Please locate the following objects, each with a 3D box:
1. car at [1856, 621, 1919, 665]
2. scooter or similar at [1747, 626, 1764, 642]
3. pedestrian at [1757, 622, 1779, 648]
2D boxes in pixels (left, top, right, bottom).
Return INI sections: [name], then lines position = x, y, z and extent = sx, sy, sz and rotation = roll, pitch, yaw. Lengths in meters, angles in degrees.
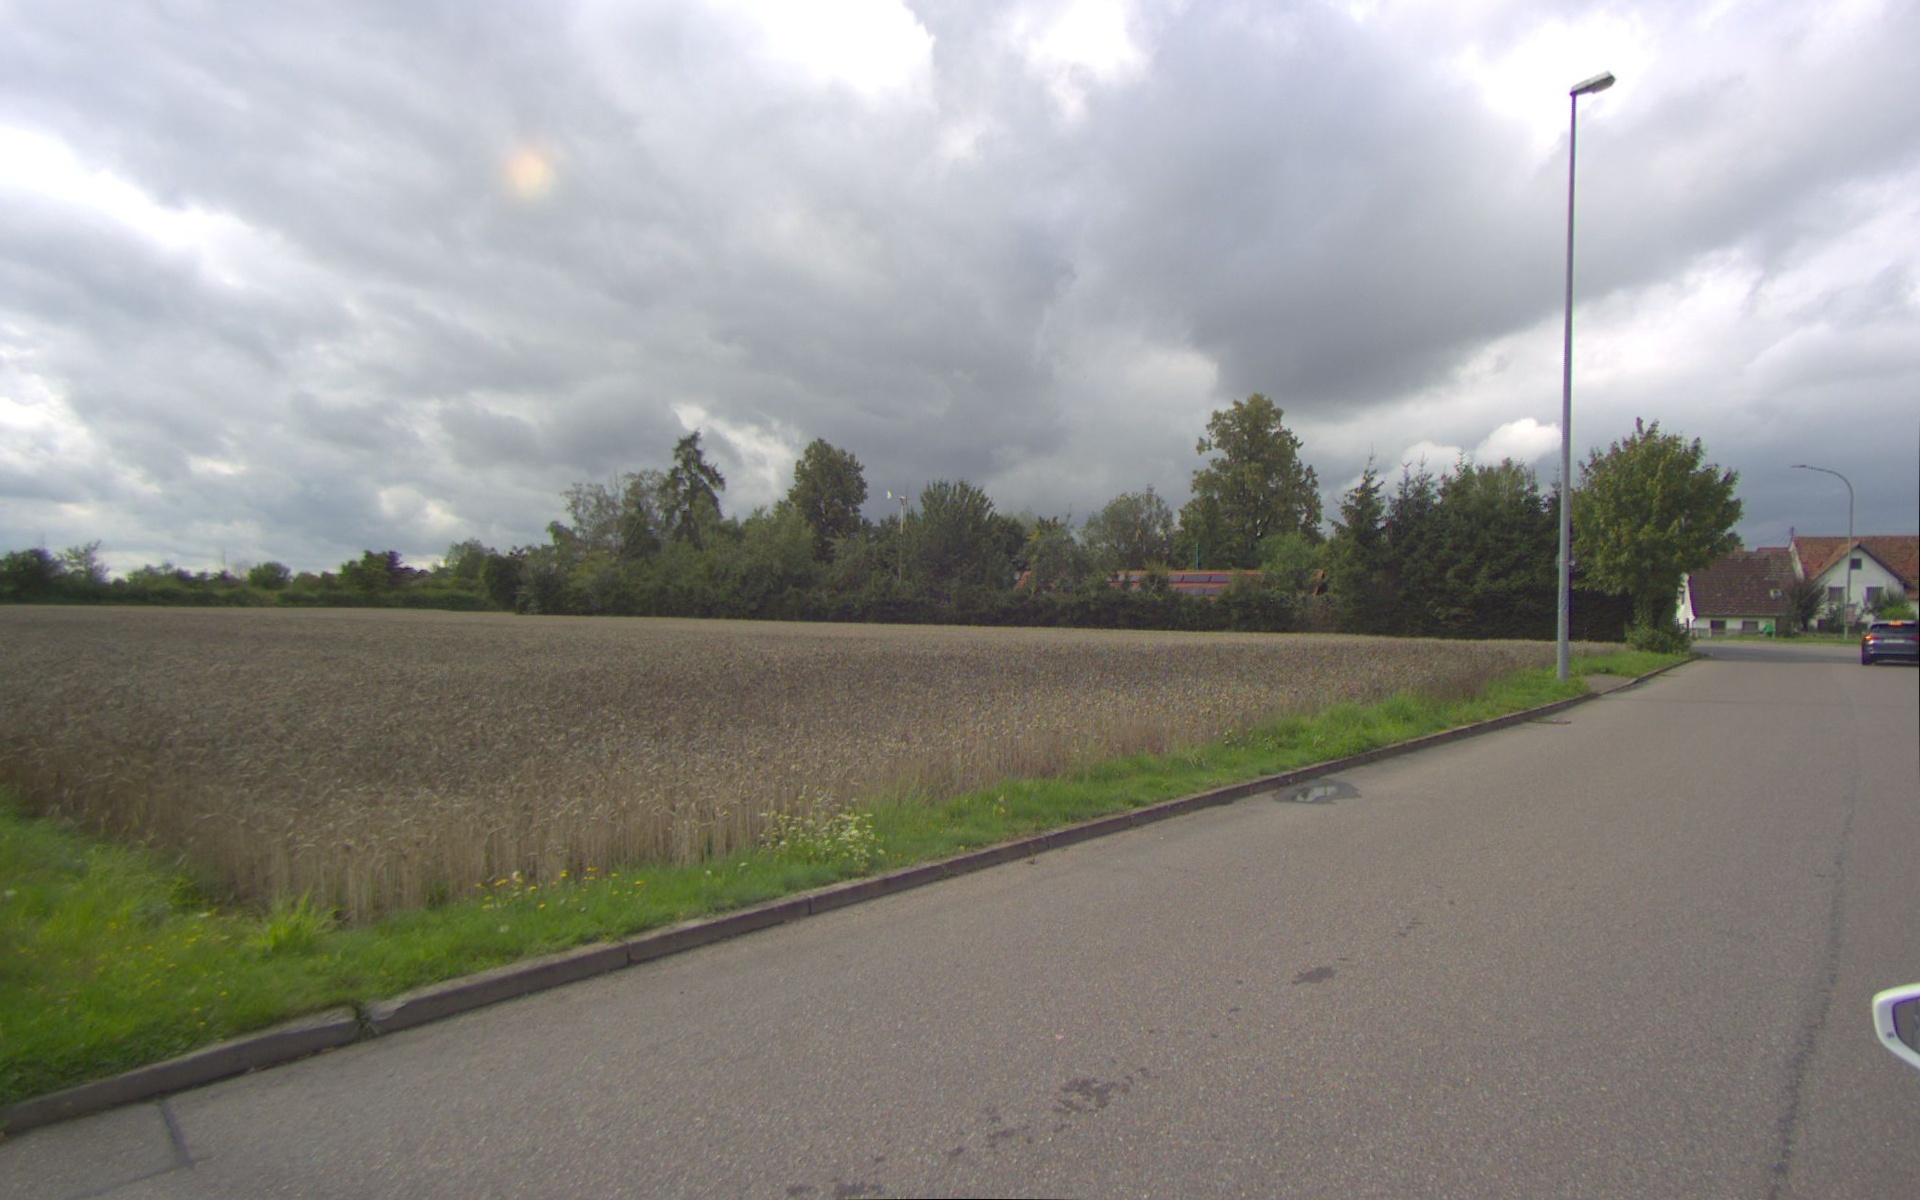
[car]
position = 33.187, 1.507, 35.875
extent = 1.778, 1.481, 3.642
rotation = 0, -1, 42
[scooter or similar]
position = 53.510, 2.279, 67.558
extent = 0.620, 0.960, 0.622
rotation = 5, 1, 9
[pedestrian]
position = 53.729, 2.322, 66.813
extent = 0.775, 1.687, 0.712
rotation = 5, 1, 9
